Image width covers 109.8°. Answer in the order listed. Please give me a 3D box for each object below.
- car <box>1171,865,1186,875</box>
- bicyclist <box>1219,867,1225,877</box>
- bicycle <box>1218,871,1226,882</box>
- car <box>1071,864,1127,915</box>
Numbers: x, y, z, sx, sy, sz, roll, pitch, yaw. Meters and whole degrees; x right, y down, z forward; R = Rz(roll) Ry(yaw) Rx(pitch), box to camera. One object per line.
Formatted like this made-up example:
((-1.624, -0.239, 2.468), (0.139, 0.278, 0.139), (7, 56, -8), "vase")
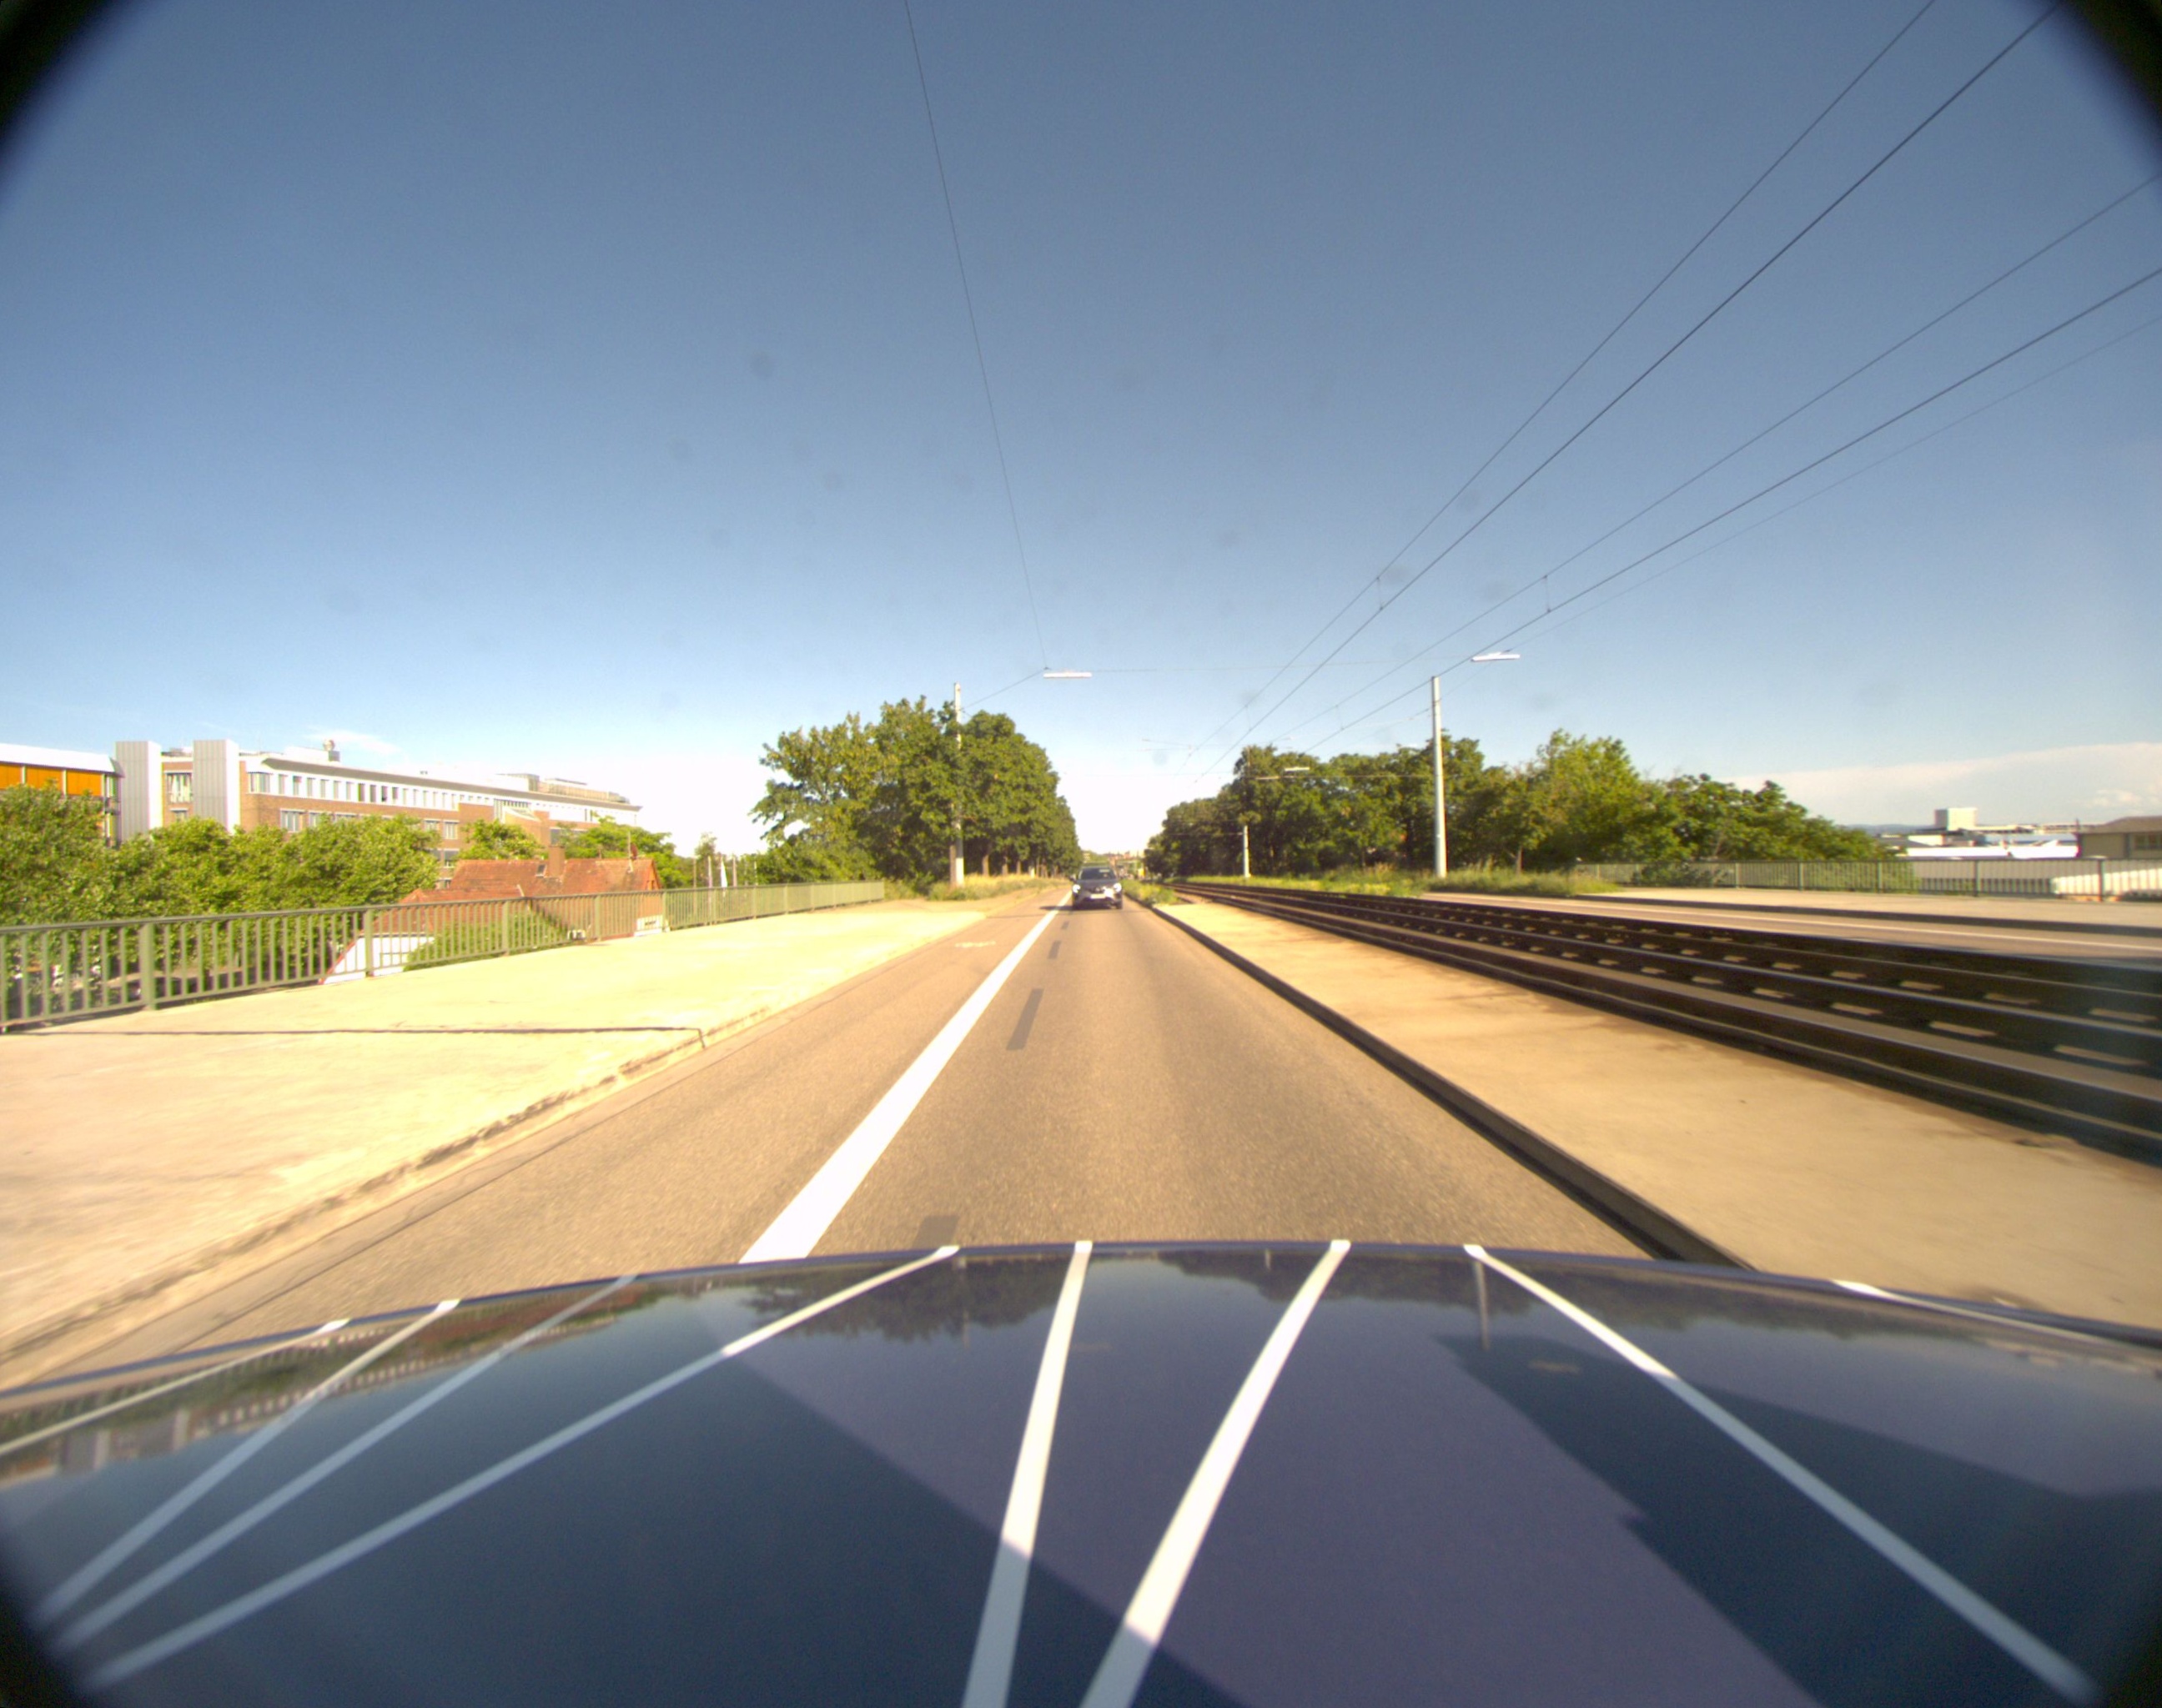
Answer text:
((15.032, 2.440, 117.337), (1.814, 1.479, 4.408), (-3, -2, 2), "car")
((17.510, 2.254, 94.462), (0.584, 1.302, 0.987), (-3, -1, 1), "bicyclist")
((17.528, 2.768, 94.469), (0.591, 1.253, 2.428), (-3, -2, 1), "bicycle")
((0.654, 1.223, 27.395), (1.814, 1.625, 4.711), (-2, -1, 1), "car")
